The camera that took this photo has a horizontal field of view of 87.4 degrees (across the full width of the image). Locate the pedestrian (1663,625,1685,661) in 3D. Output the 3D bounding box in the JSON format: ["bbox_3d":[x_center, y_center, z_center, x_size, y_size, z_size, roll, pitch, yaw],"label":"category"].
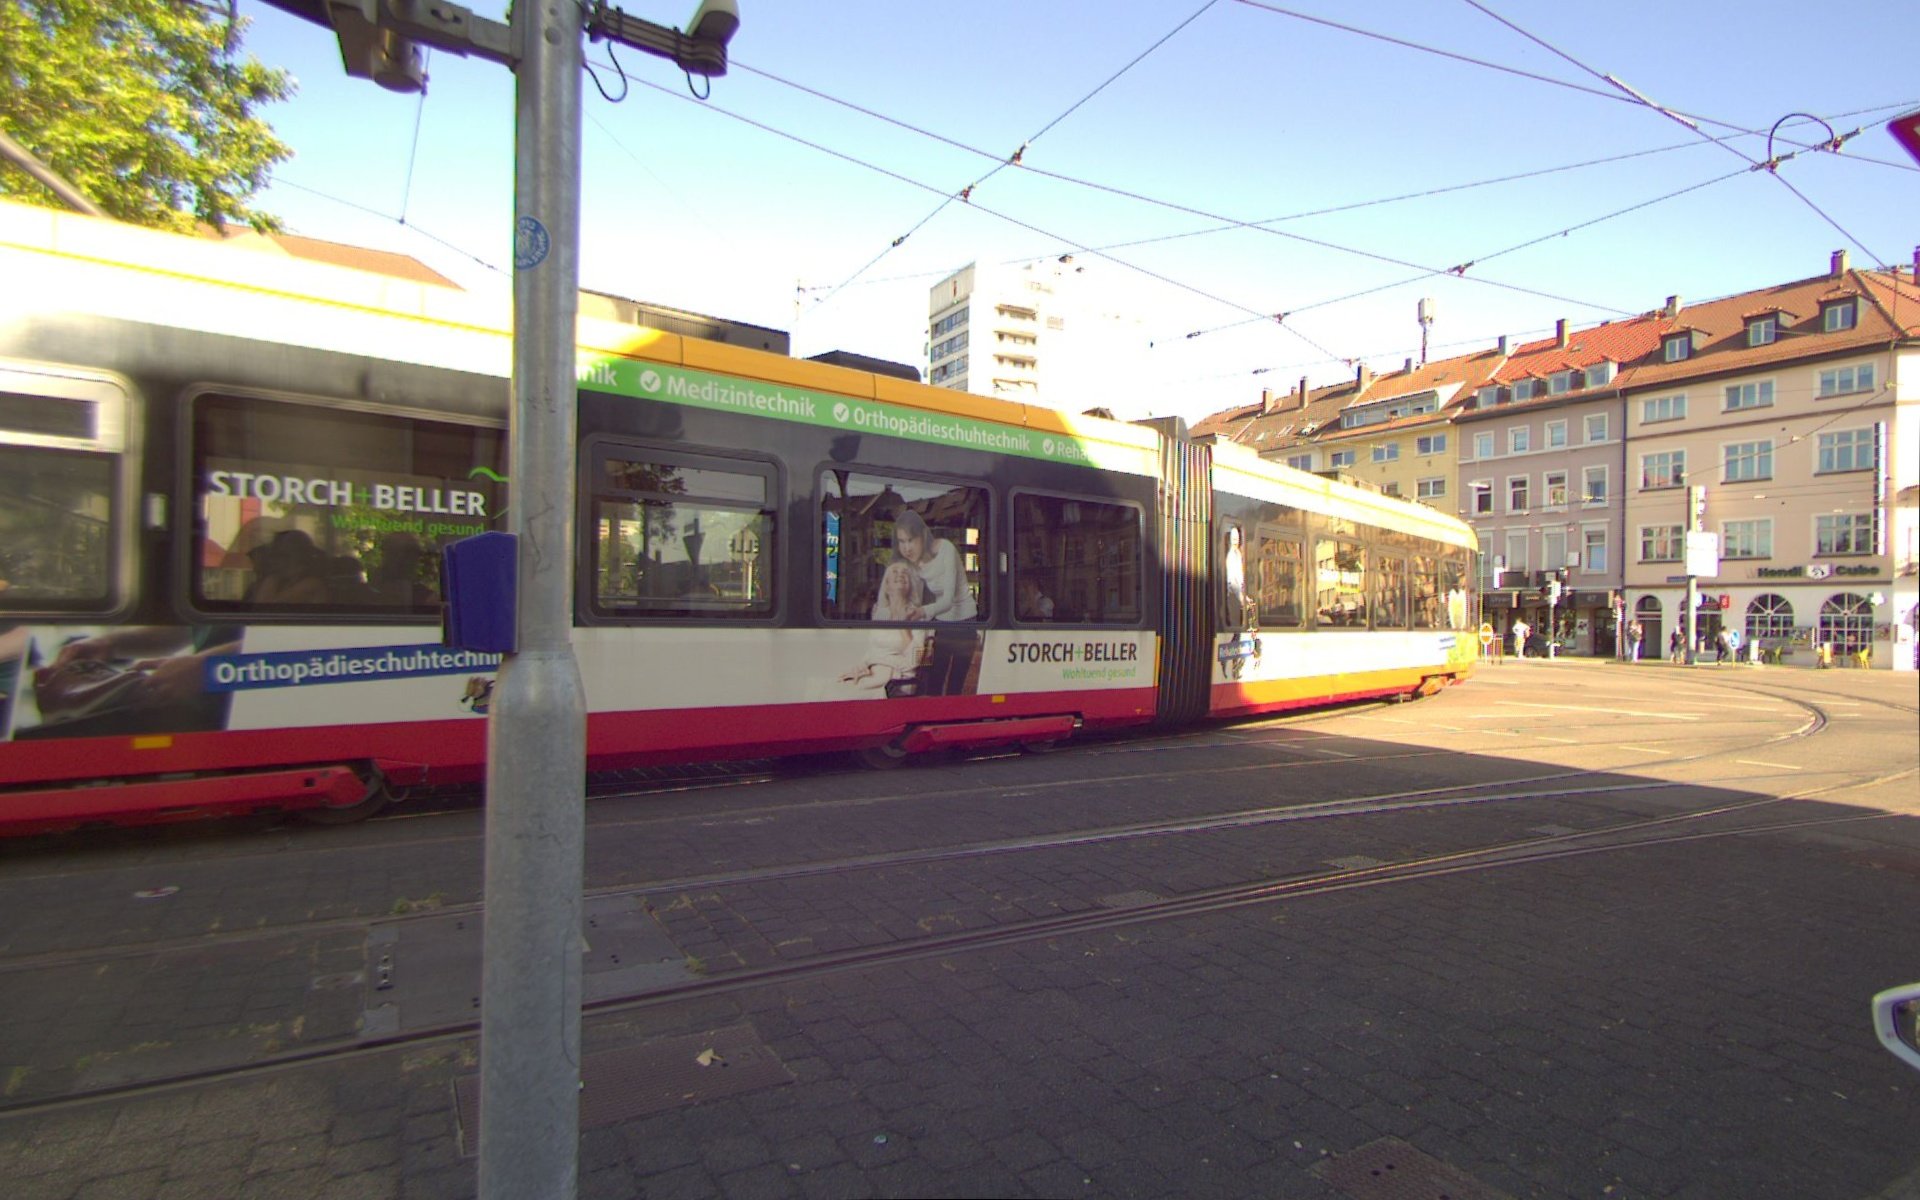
[{"bbox_3d":[34.108,2.066,47.973,0.743,1.692,0.579,2,0,-30],"label":"pedestrian"}]

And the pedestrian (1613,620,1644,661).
[{"bbox_3d":[26.511,1.599,39.834,0.817,1.598,0.552,2,0,-2],"label":"pedestrian"}]

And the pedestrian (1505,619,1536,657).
[{"bbox_3d":[24.572,1.671,44.041,0.821,1.598,0.847,2,0,-20],"label":"pedestrian"}]

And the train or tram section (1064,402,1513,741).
[{"bbox_3d":[6.379,-0.195,16.991,2.898,3.864,12.063,0,-1,40],"label":"train or tram section"}]

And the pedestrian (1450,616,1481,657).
[{"bbox_3d":[20.310,1.464,40.331,0.867,1.598,0.665,2,0,-2],"label":"pedestrian"}]

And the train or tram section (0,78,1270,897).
[{"bbox_3d":[-2.284,-0.433,8.502,12.714,3.864,2.908,2,-1,-40],"label":"train or tram section"}]

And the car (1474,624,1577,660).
[{"bbox_3d":[30.814,2.289,54.850,2.277,1.734,4.350,2,0,-27],"label":"car"}]

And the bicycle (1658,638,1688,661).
[{"bbox_3d":[34.024,2.364,47.927,1.479,1.091,0.570,2,0,-30],"label":"bicycle"}]

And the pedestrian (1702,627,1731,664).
[{"bbox_3d":[33.913,2.031,45.037,0.816,1.598,0.728,2,0,14],"label":"pedestrian"}]
